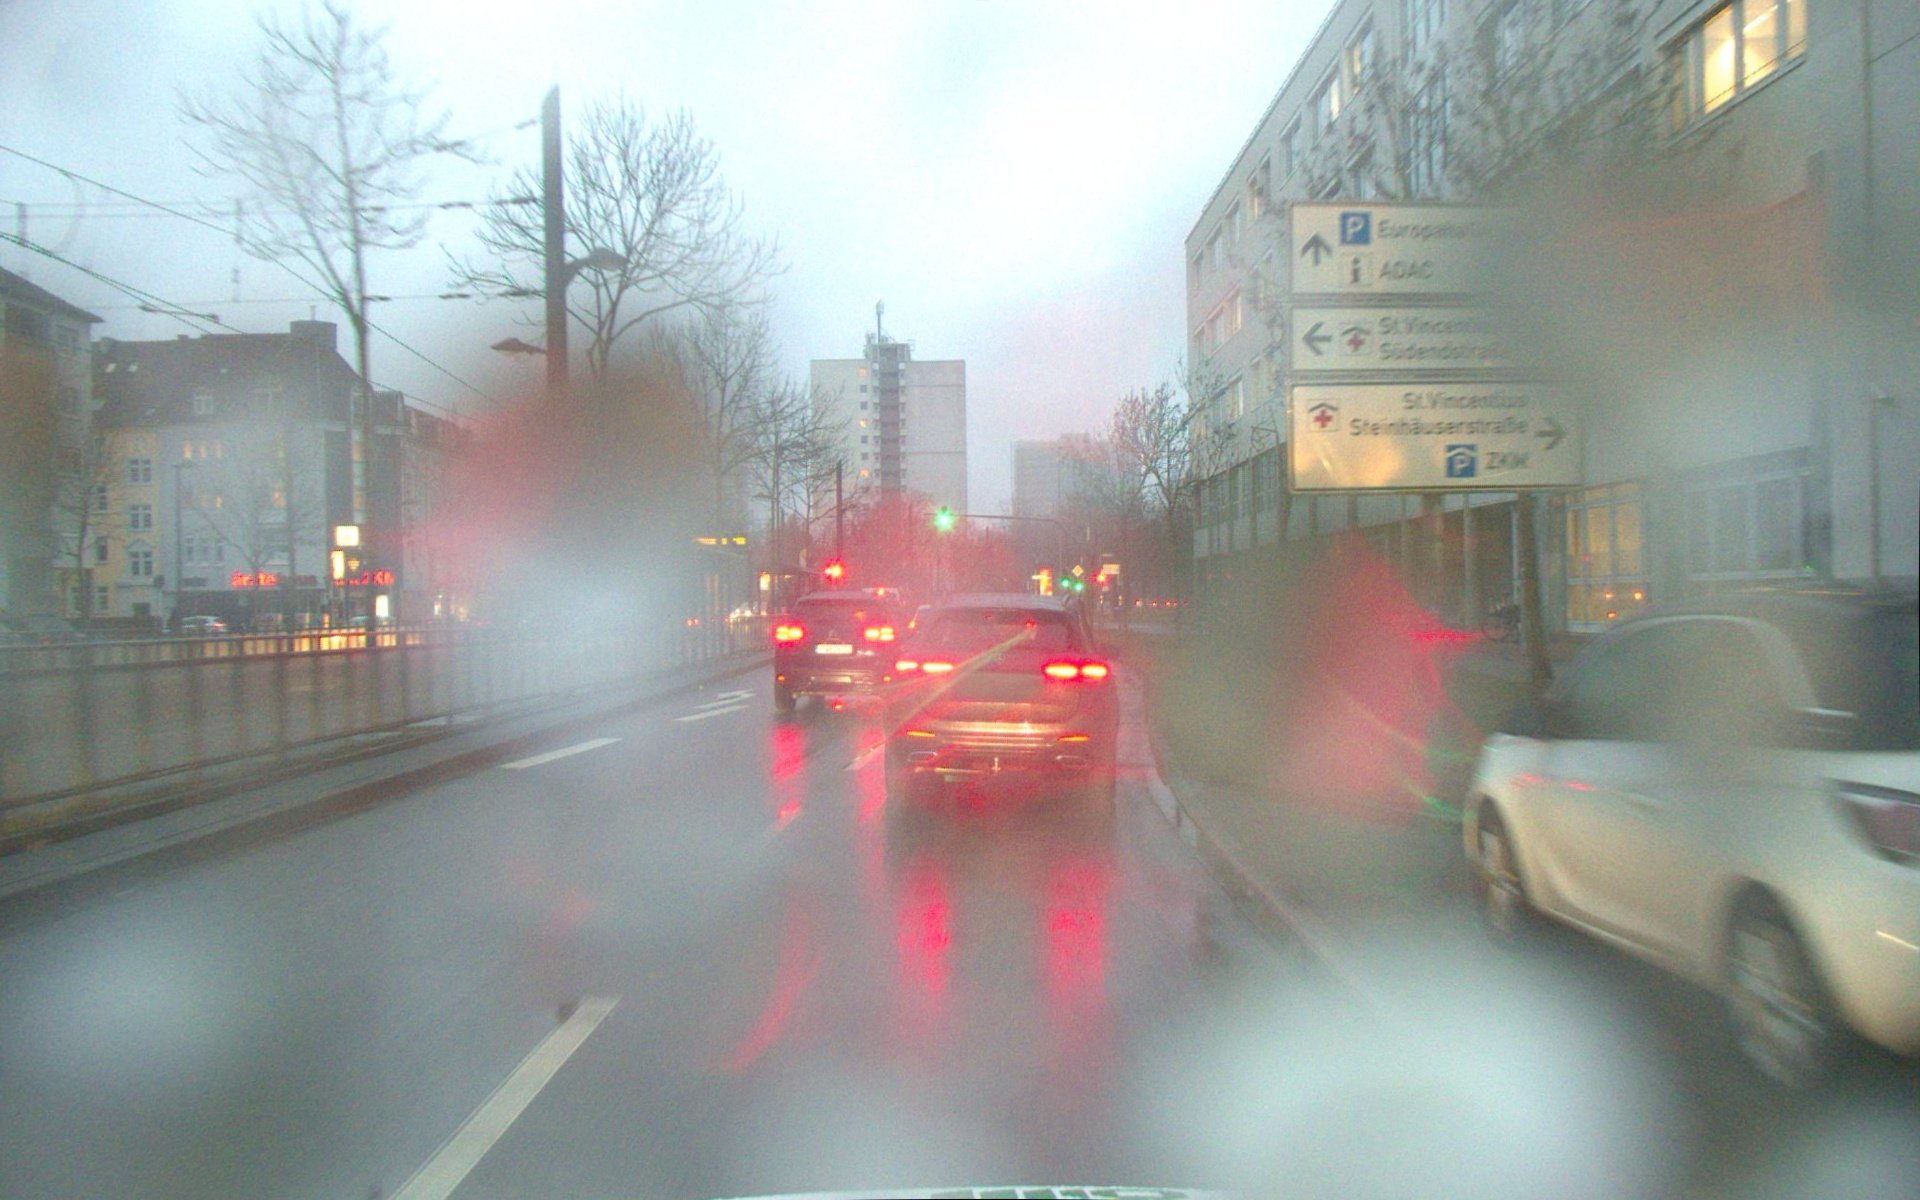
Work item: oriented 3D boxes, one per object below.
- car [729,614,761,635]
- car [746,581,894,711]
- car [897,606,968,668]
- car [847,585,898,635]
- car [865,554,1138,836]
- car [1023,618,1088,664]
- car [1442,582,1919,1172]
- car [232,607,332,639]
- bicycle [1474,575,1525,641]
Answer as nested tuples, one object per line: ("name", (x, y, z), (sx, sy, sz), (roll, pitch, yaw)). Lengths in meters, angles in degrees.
("car", (-15.911, 1.807, 122.440), (1.722, 1.523, 3.760), (0, -1, 3))
("car", (-1.976, 0.664, 24.490), (1.953, 1.742, 4.322), (0, -1, -2))
("car", (-0.768, 1.058, 47.442), (1.953, 1.671, 4.021), (0, -1, 0))
("car", (-3.677, 0.417, 69.958), (1.912, 2.069, 4.882), (0, 0, 0))
("car", (0.190, 0.725, 13.930), (1.954, 2.010, 4.065), (0, -1, -3))
("car", (3.081, 1.301, 54.180), (1.848, 1.377, 4.101), (0, 0, -1))
("car", (3.060, 0.676, 5.897), (1.559, 1.419, 3.486), (-3, 0, -1))
("car", (-30.085, 1.017, 73.472), (3.724, 1.390, 1.696), (1, -1, -6))
("bicycle", (11.485, 0.142, 35.265), (0.805, 1.295, 2.460), (-5, 0, 15))
